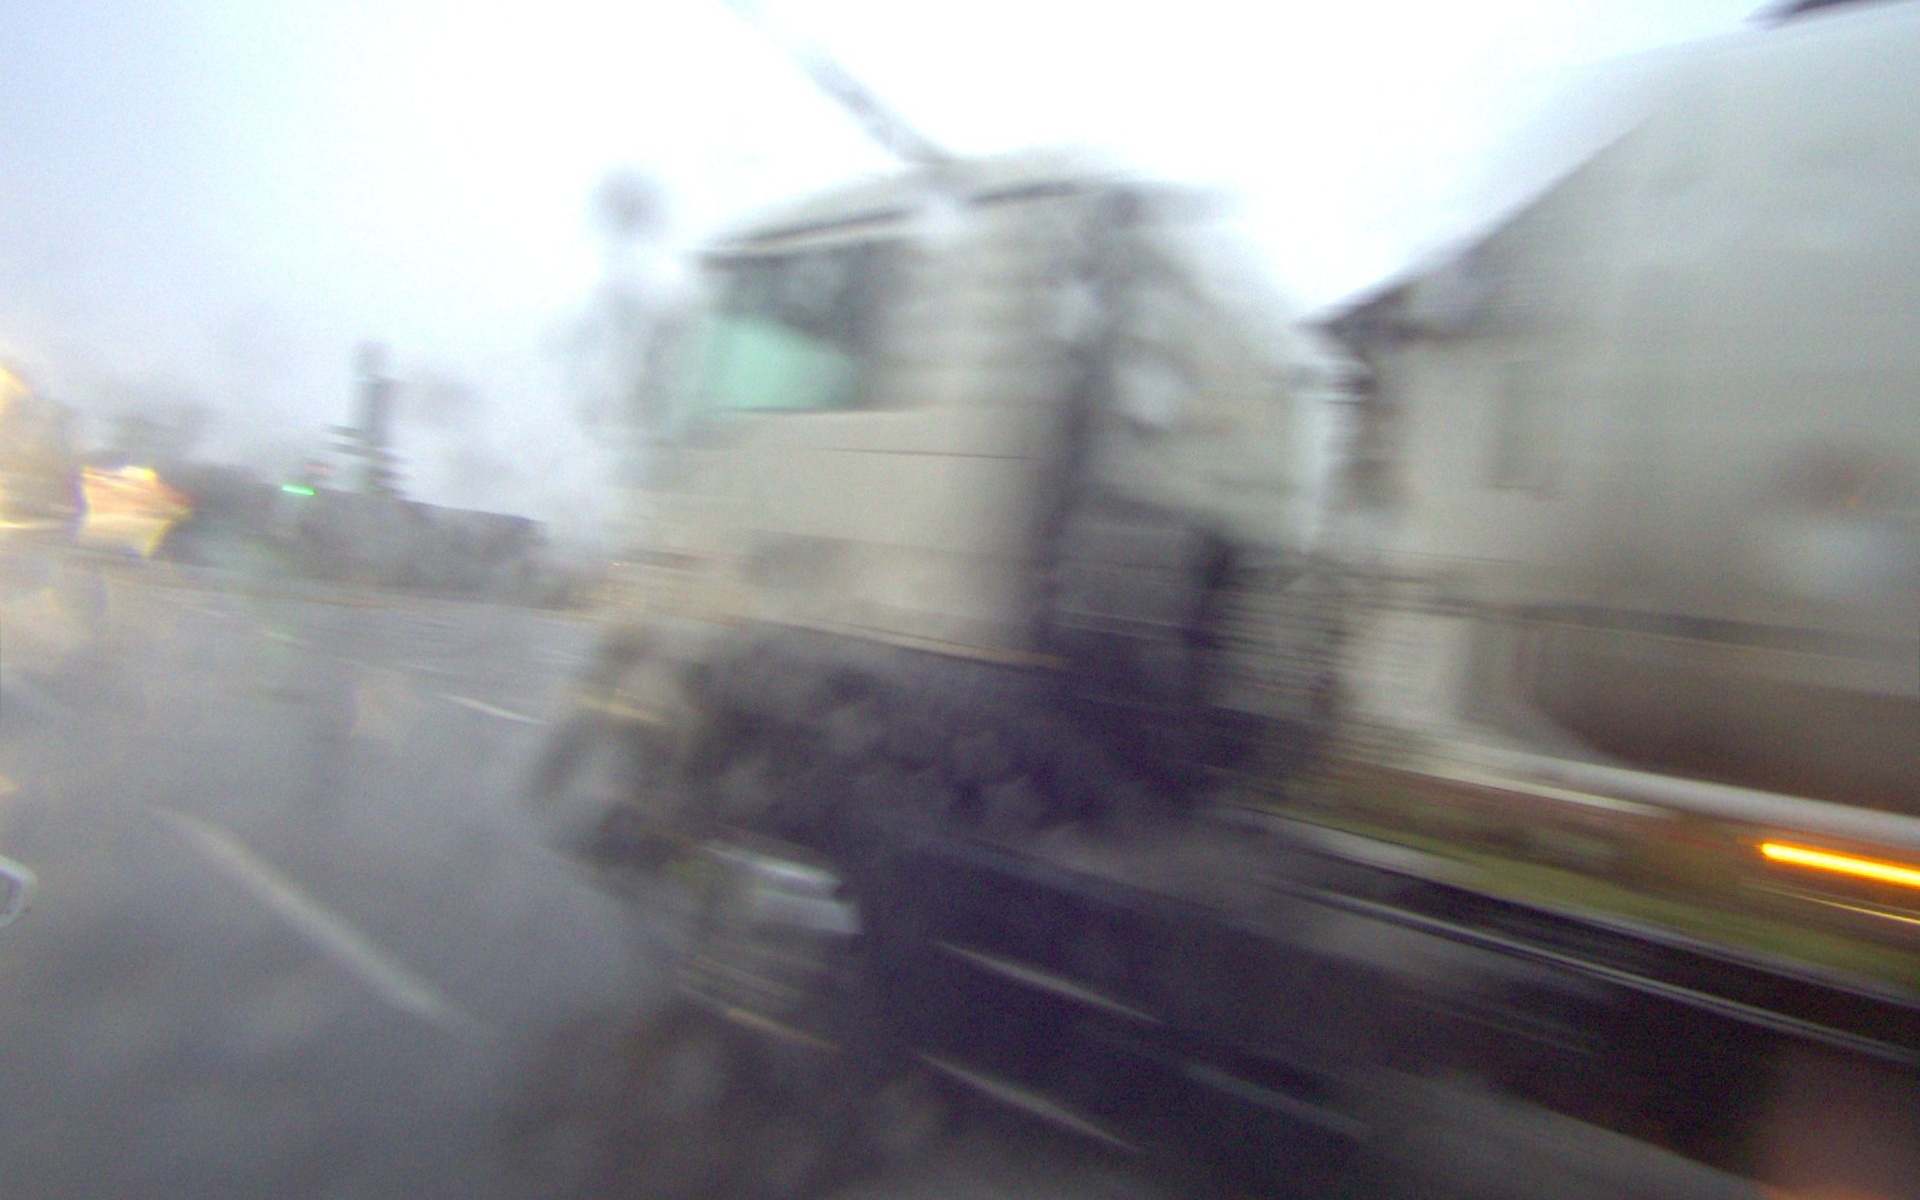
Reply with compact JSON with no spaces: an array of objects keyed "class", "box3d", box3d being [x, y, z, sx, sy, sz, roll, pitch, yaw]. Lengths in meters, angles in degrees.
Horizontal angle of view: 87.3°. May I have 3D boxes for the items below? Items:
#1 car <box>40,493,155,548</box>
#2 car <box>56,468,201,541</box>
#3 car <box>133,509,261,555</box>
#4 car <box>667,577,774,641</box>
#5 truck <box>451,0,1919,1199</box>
[{"class":"car","box3d":[-41.103,-3.775,48.002,3.972,2.039,1.976,6,1,-42]},{"class":"car","box3d":[-42.391,-4.824,51.441,1.747,2.906,5.257,7,1,31]},{"class":"car","box3d":[-36.008,-3.183,47.539,1.753,1.549,4.517,7,0,43]},{"class":"car","box3d":[-7.906,0.357,33.582,1.784,1.708,3.921,8,-1,12]},{"class":"truck","box3d":[1.268,0.138,3.137,6.180,3.267,2.462,7,-1,39]}]
